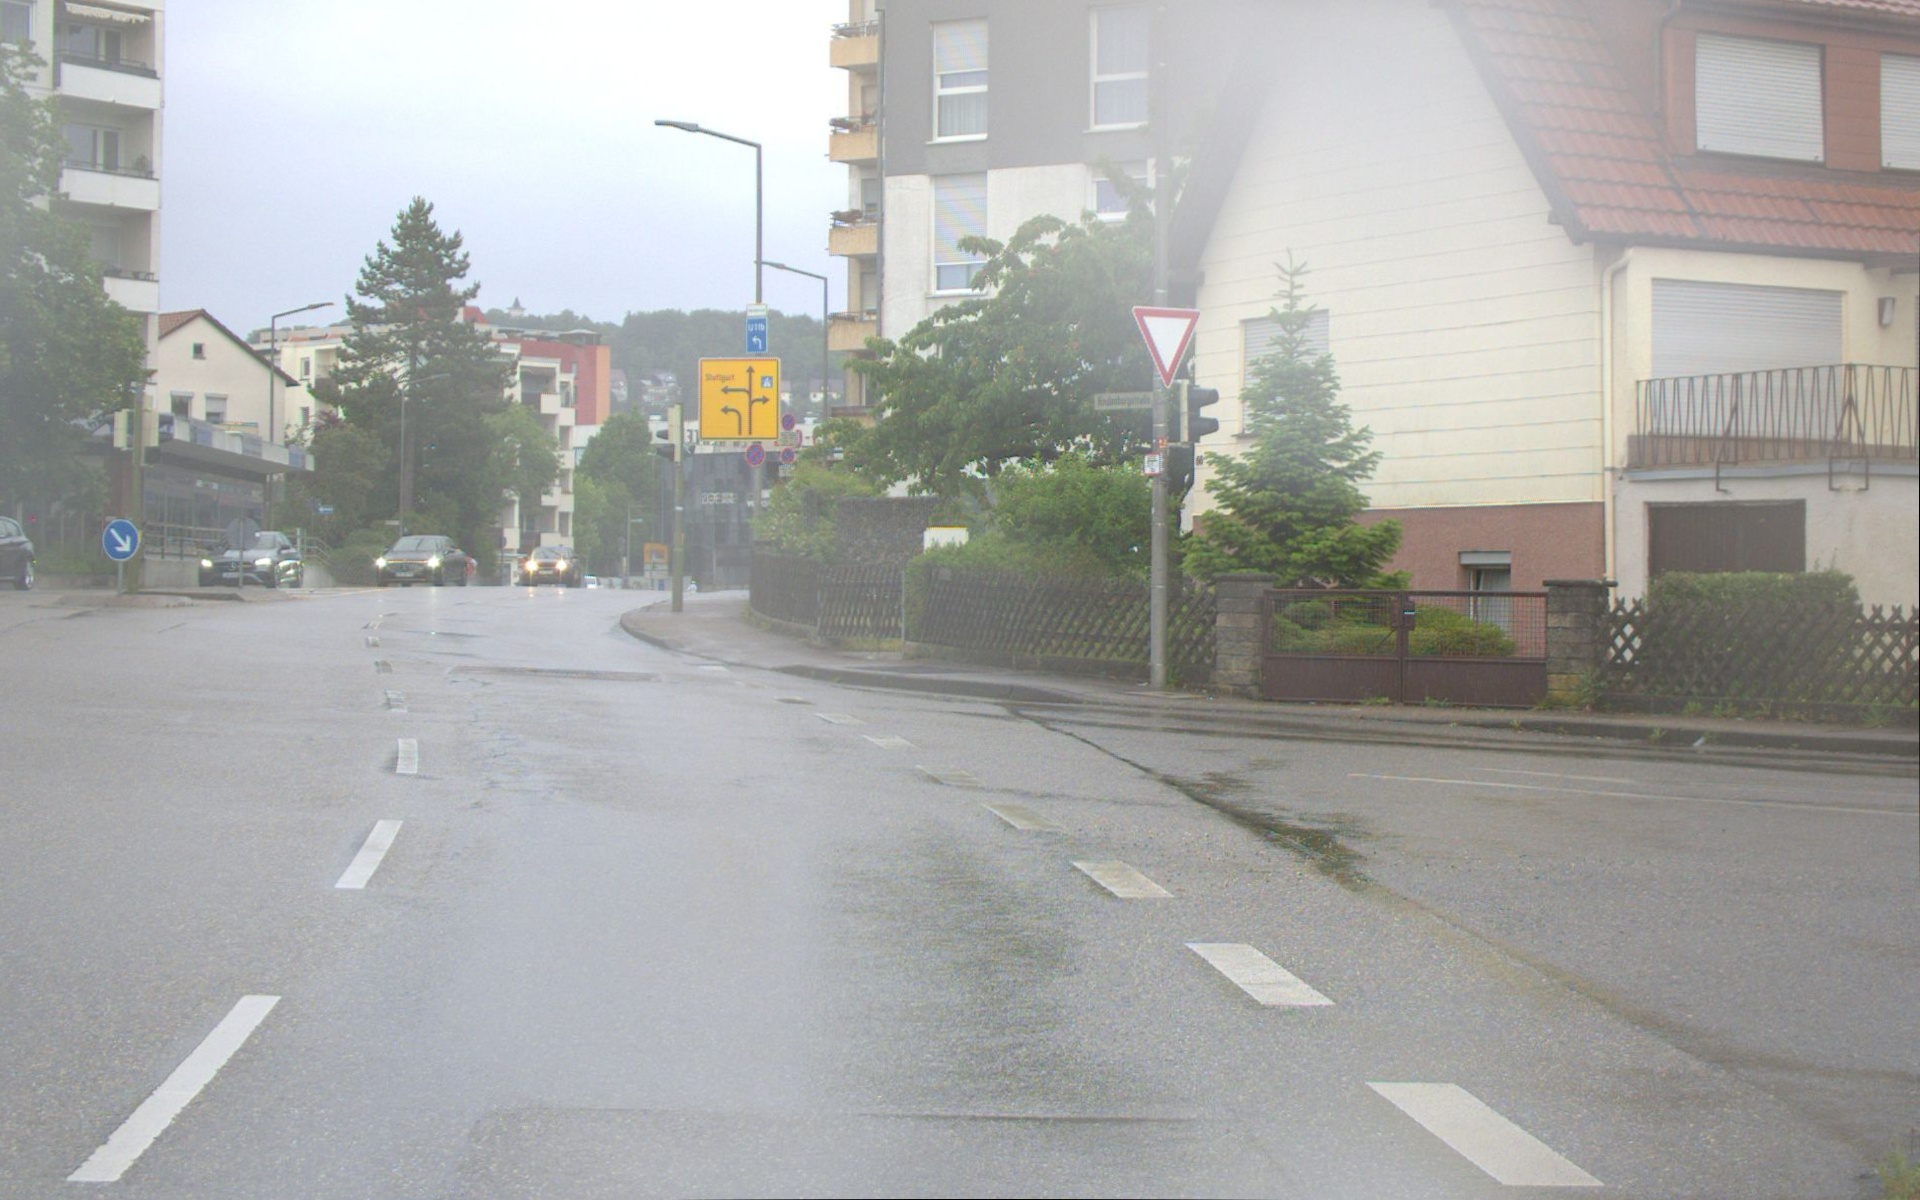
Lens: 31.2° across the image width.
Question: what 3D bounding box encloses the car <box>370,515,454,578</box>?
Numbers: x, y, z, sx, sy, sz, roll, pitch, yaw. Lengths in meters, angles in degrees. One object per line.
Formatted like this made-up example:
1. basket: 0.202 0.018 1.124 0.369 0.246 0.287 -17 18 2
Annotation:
1. car: -15.177 -1.468 95.367 1.993 1.673 4.001 1 1 -5

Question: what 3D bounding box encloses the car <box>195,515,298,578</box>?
1. car: -17.318 -1.299 83.631 1.993 1.458 4.001 1 1 -5

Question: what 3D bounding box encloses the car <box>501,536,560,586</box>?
1. car: -16.039 -1.470 128.542 1.993 1.805 4.001 1 1 -5

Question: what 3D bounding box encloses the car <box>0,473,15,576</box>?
1. car: -18.665 -1.402 62.796 1.993 1.897 4.001 1 1 -5
